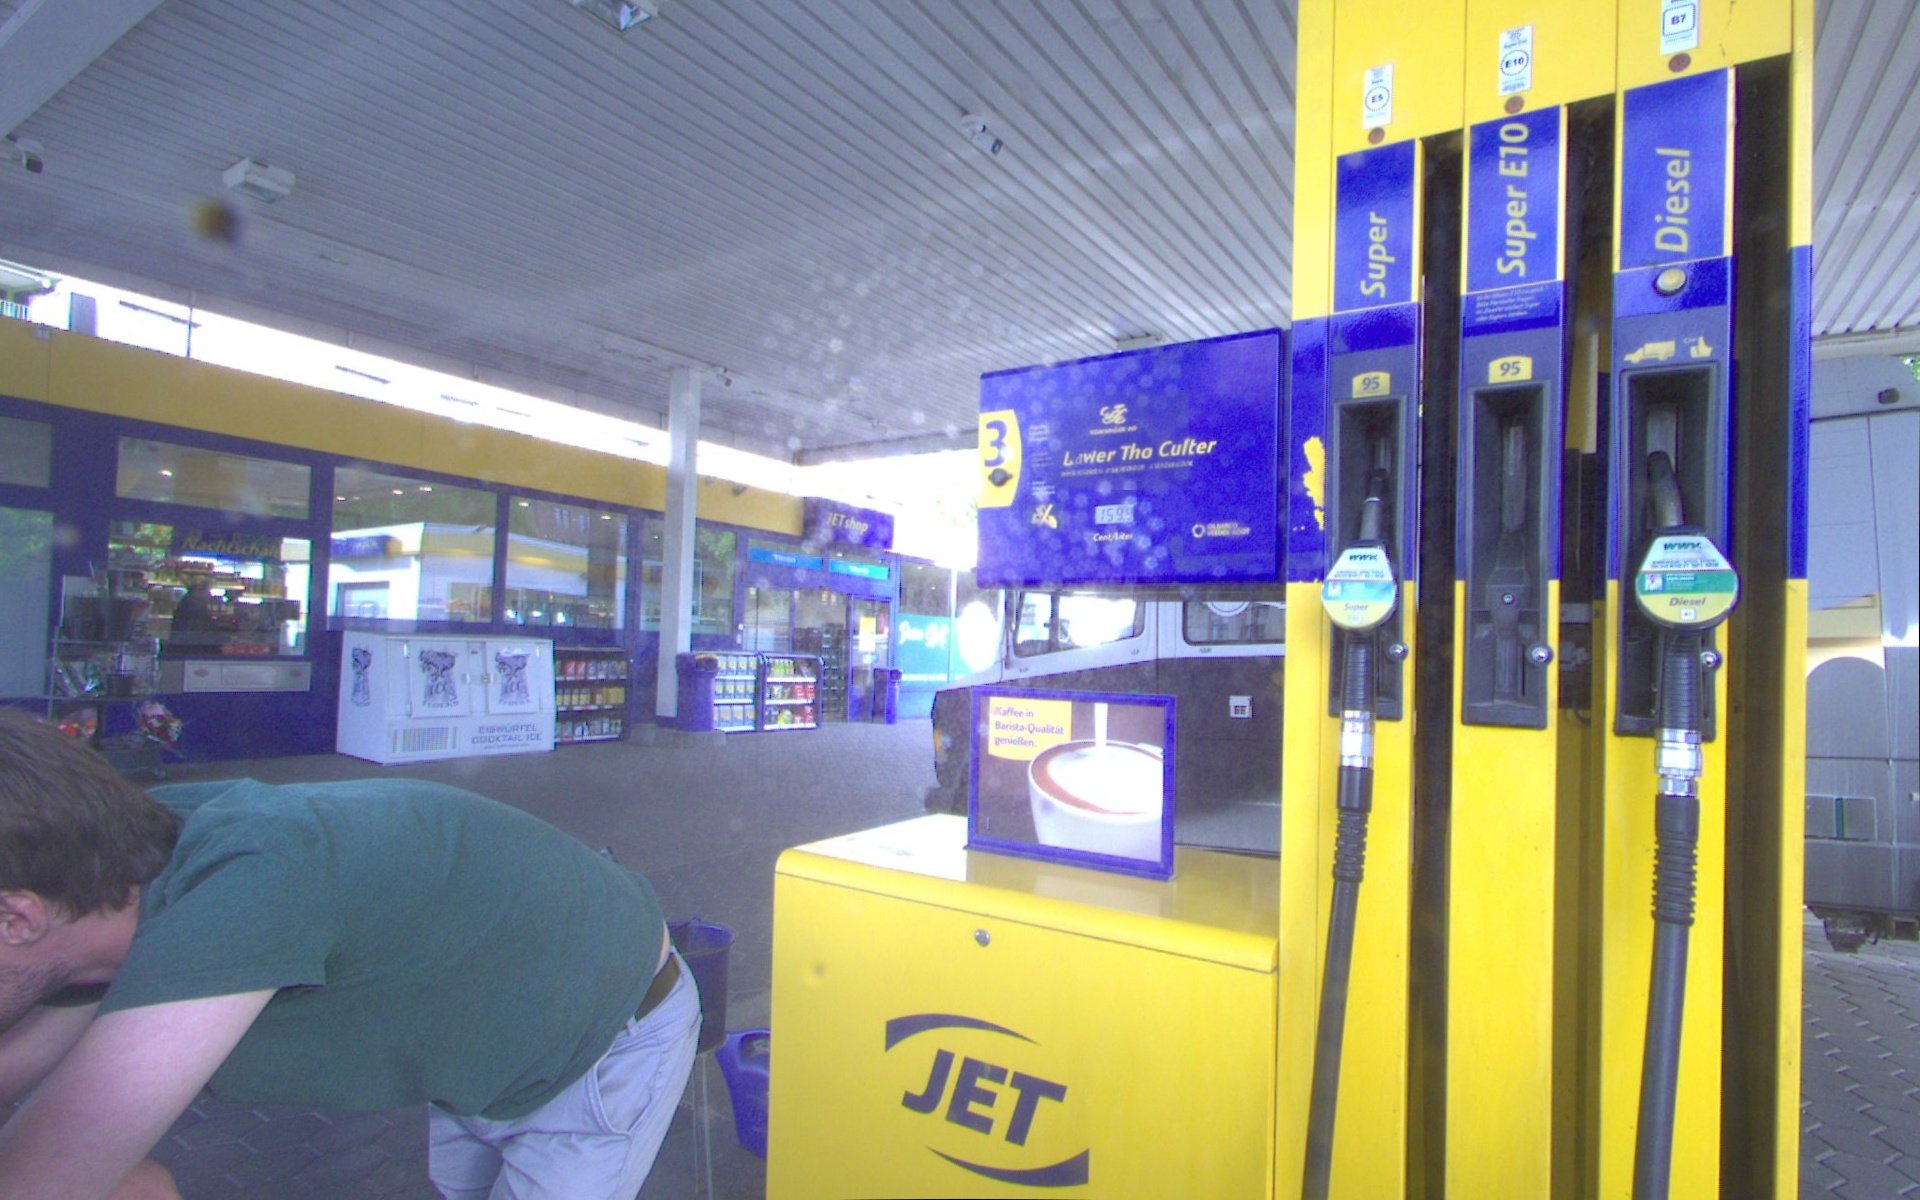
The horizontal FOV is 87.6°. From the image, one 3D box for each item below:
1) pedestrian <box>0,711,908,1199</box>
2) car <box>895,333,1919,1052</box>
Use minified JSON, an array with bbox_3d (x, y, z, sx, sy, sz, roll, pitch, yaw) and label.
[{"bbox_3d":[-0.537,0.805,1.066,0.664,1.298,0.749,-1,-1,31],"label":"pedestrian"},{"bbox_3d":[2.386,0.410,6.011,5.219,2.724,2.250,0,-3,34],"label":"car"}]
